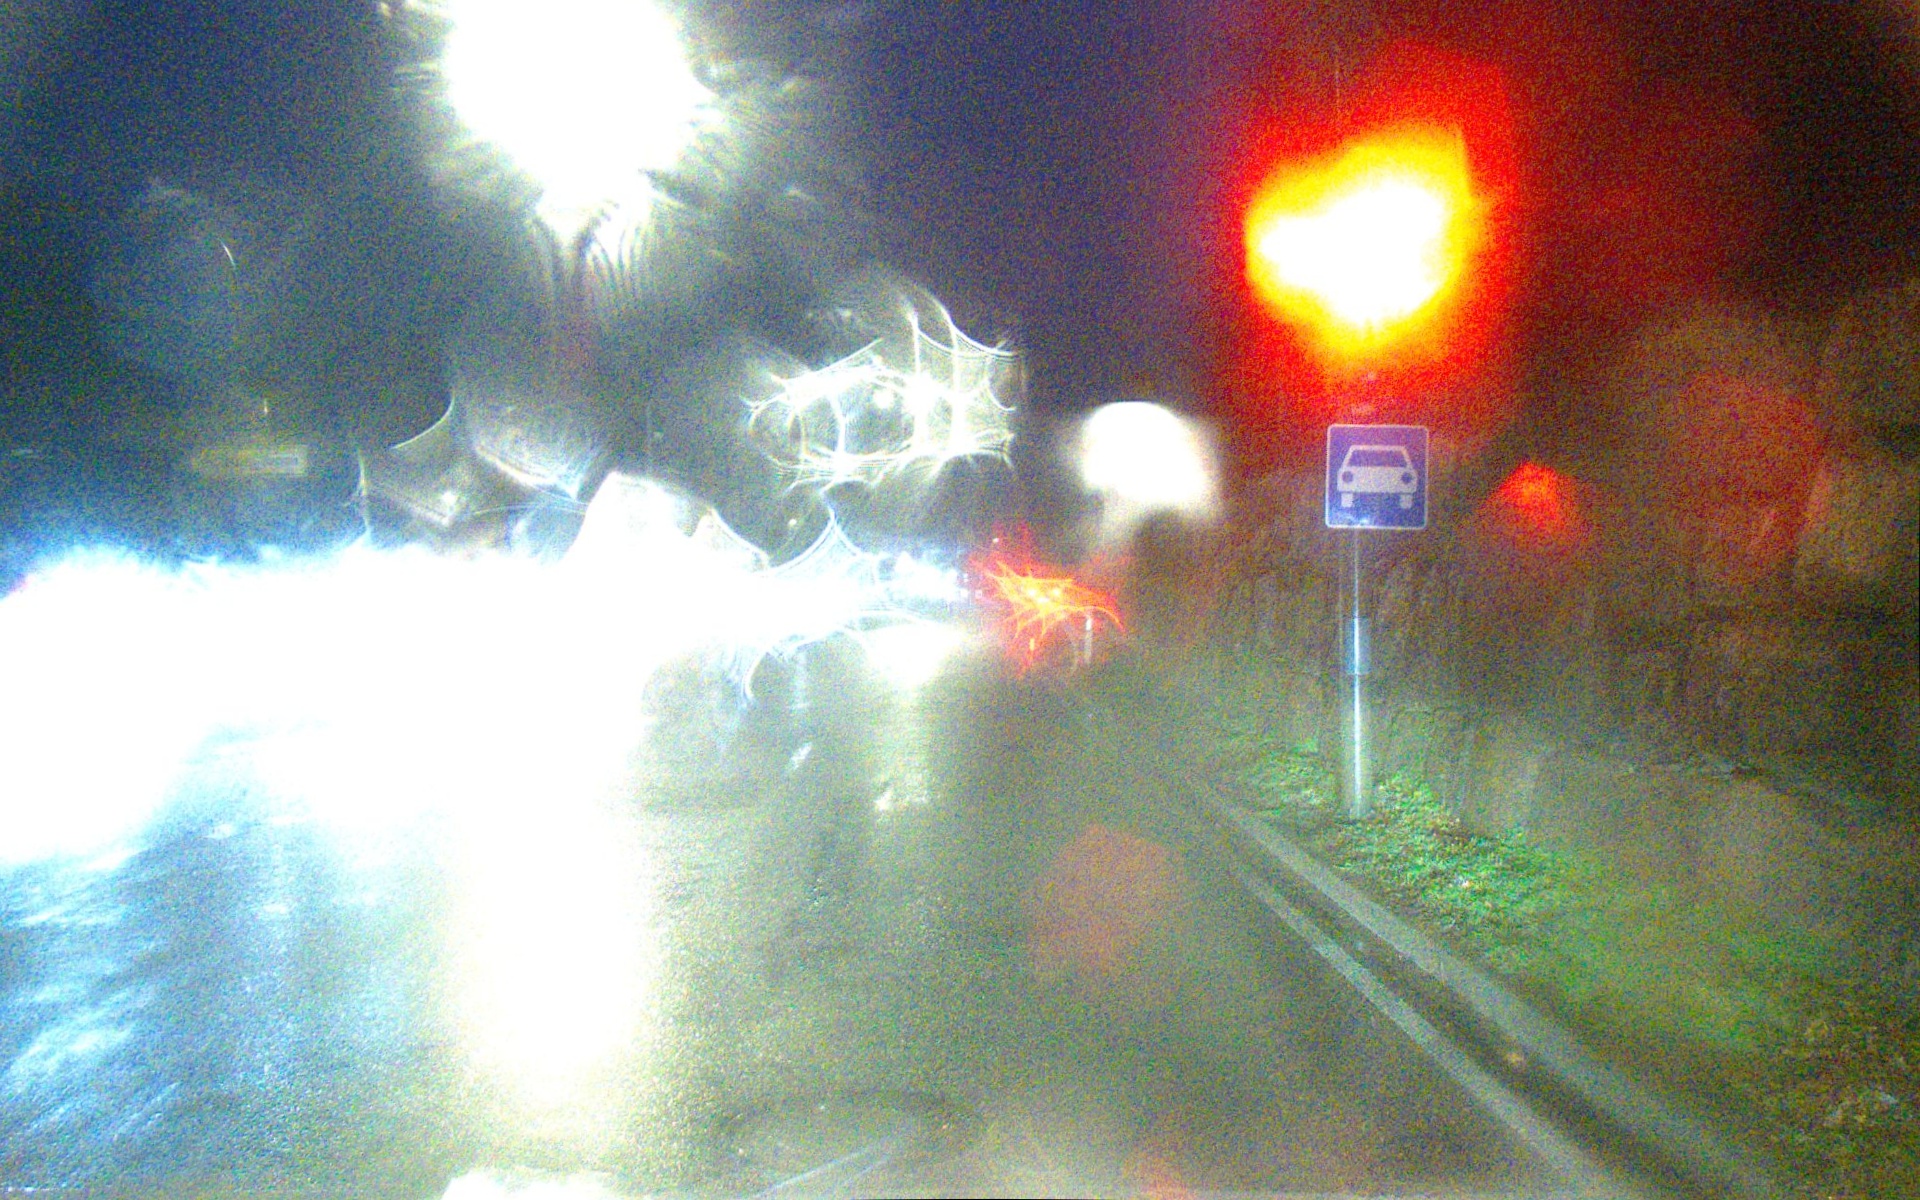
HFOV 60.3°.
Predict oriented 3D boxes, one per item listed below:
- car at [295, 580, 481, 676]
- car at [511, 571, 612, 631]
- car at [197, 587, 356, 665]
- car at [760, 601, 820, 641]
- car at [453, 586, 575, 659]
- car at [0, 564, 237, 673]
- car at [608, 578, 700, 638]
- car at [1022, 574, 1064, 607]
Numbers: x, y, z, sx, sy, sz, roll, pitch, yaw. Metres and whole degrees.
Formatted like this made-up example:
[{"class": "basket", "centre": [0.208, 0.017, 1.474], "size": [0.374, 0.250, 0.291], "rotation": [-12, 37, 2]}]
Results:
[{"class": "car", "centre": [-10.275, 0.457, 30.084], "size": [1.664, 1.599, 4.712], "rotation": [0, 0, 1]}, {"class": "car", "centre": [-12.018, 0.051, 50.097], "size": [1.952, 1.750, 4.001], "rotation": [0, -1, 2]}, {"class": "car", "centre": [-13.665, 0.521, 33.291], "size": [1.634, 1.479, 3.727], "rotation": [0, -1, 0]}, {"class": "car", "centre": [-6.923, 0.864, 67.707], "size": [1.672, 1.561, 4.602], "rotation": [0, -1, 4]}, {"class": "car", "centre": [-9.948, 0.508, 37.143], "size": [1.552, 1.552, 3.653], "rotation": [0, -1, 3]}, {"class": "car", "centre": [-13.634, 0.267, 26.758], "size": [1.755, 1.599, 4.913], "rotation": [0, 0, -1]}, {"class": "car", "centre": [-9.194, 0.253, 49.989], "size": [1.681, 1.733, 4.145], "rotation": [0, -1, 5]}, {"class": "car", "centre": [4.369, -0.483, 87.110], "size": [1.953, 1.639, 4.102], "rotation": [0, -1, -1]}]
